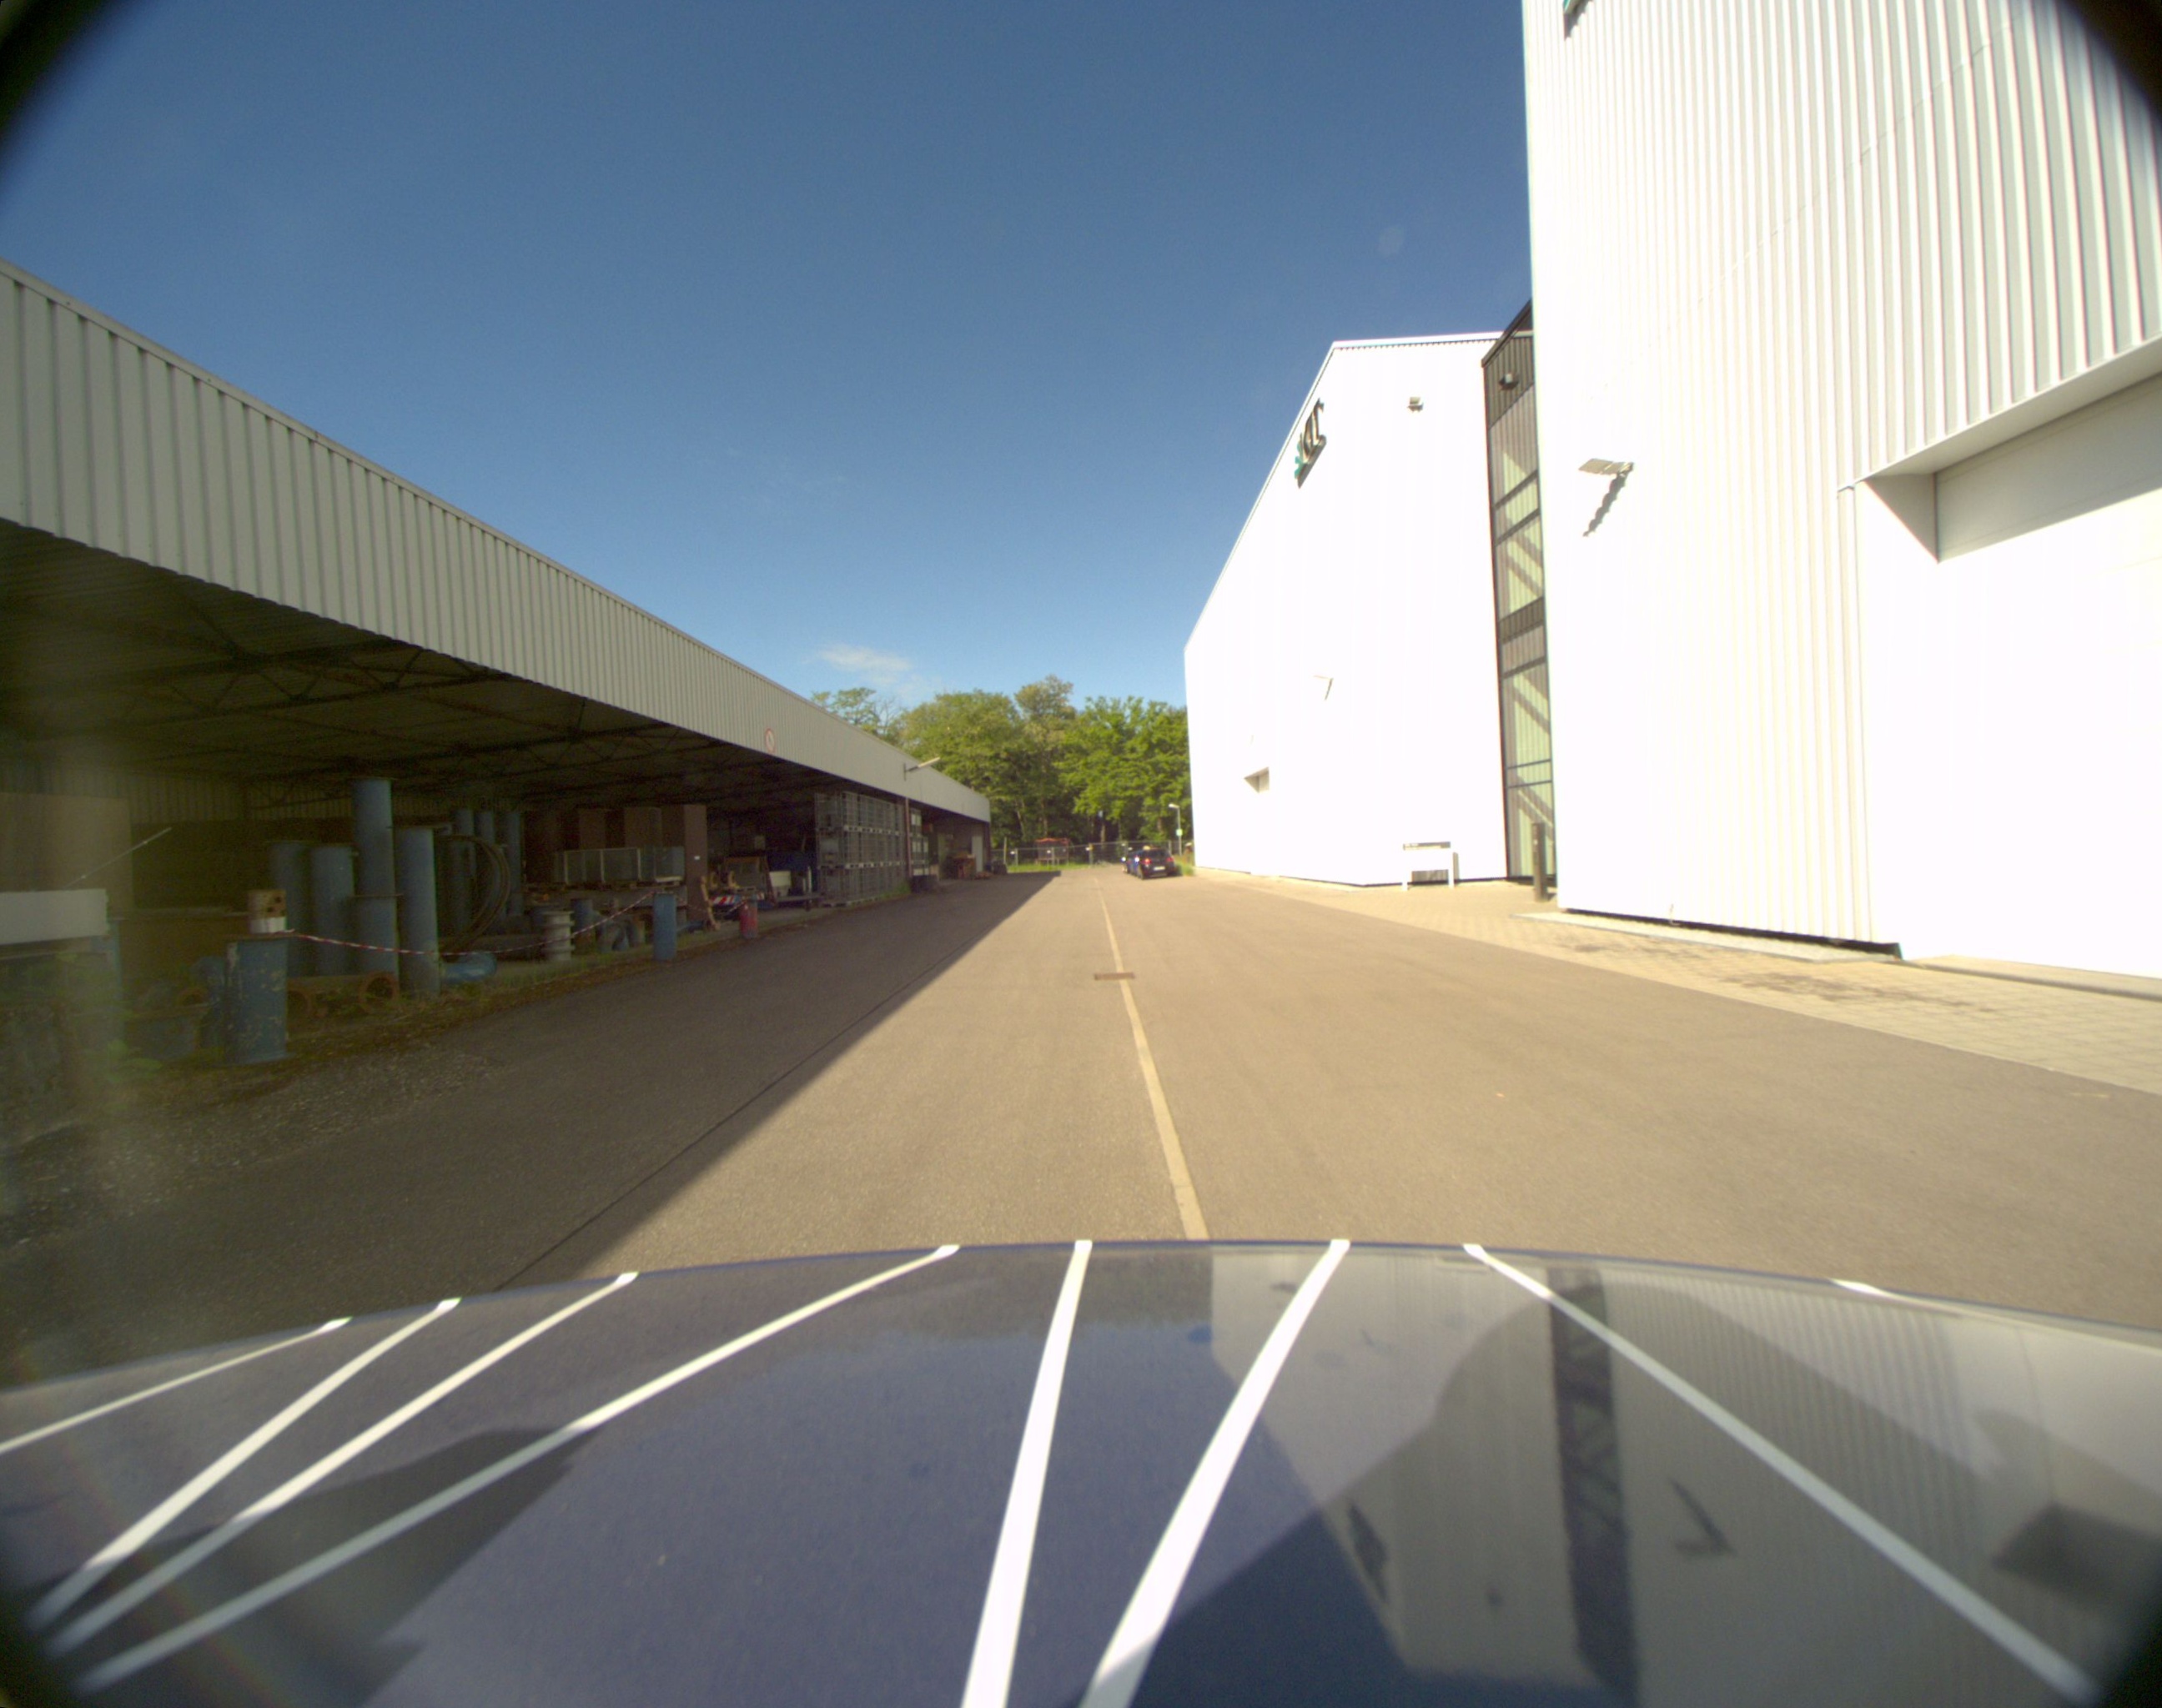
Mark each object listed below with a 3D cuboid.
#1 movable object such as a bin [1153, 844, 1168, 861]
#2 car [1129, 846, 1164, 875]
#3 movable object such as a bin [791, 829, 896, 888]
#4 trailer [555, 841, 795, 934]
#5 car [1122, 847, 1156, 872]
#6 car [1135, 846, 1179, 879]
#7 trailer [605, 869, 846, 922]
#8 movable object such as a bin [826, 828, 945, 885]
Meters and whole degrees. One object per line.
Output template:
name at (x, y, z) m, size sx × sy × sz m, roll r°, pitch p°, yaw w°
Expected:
movable object such as a bin at (6.728, -0.148, 64.694) m, size 1.141 × 1.426 × 1.289 m, roll -1°, pitch 1°, yaw 1°
car at (3.703, 0.337, 43.464) m, size 1.552 × 1.480 × 3.522 m, roll -5°, pitch 0°, yaw -1°
movable object such as a bin at (-12.284, 0.247, 39.582) m, size 4.537 × 2.814 × 2.497 m, roll -2°, pitch 1°, yaw 1°
trailer at (-9.389, 0.726, 17.875) m, size 4.433 × 1.979 × 2.163 m, roll -1°, pitch 1°, yaw 2°
car at (3.701, 0.342, 48.976) m, size 1.715 × 1.440 × 3.798 m, roll -5°, pitch 0°, yaw -1°
car at (3.799, 0.391, 38.720) m, size 1.760 × 1.437 × 4.314 m, roll -5°, pitch 0°, yaw 1°
trailer at (-9.756, 1.123, 21.225) m, size 5.743 × 1.178 × 1.974 m, roll -1°, pitch 1°, yaw -1°
movable object such as a bin at (-10.906, 0.124, 42.842) m, size 5.848 × 2.908 × 2.820 m, roll -2°, pitch 1°, yaw 1°
